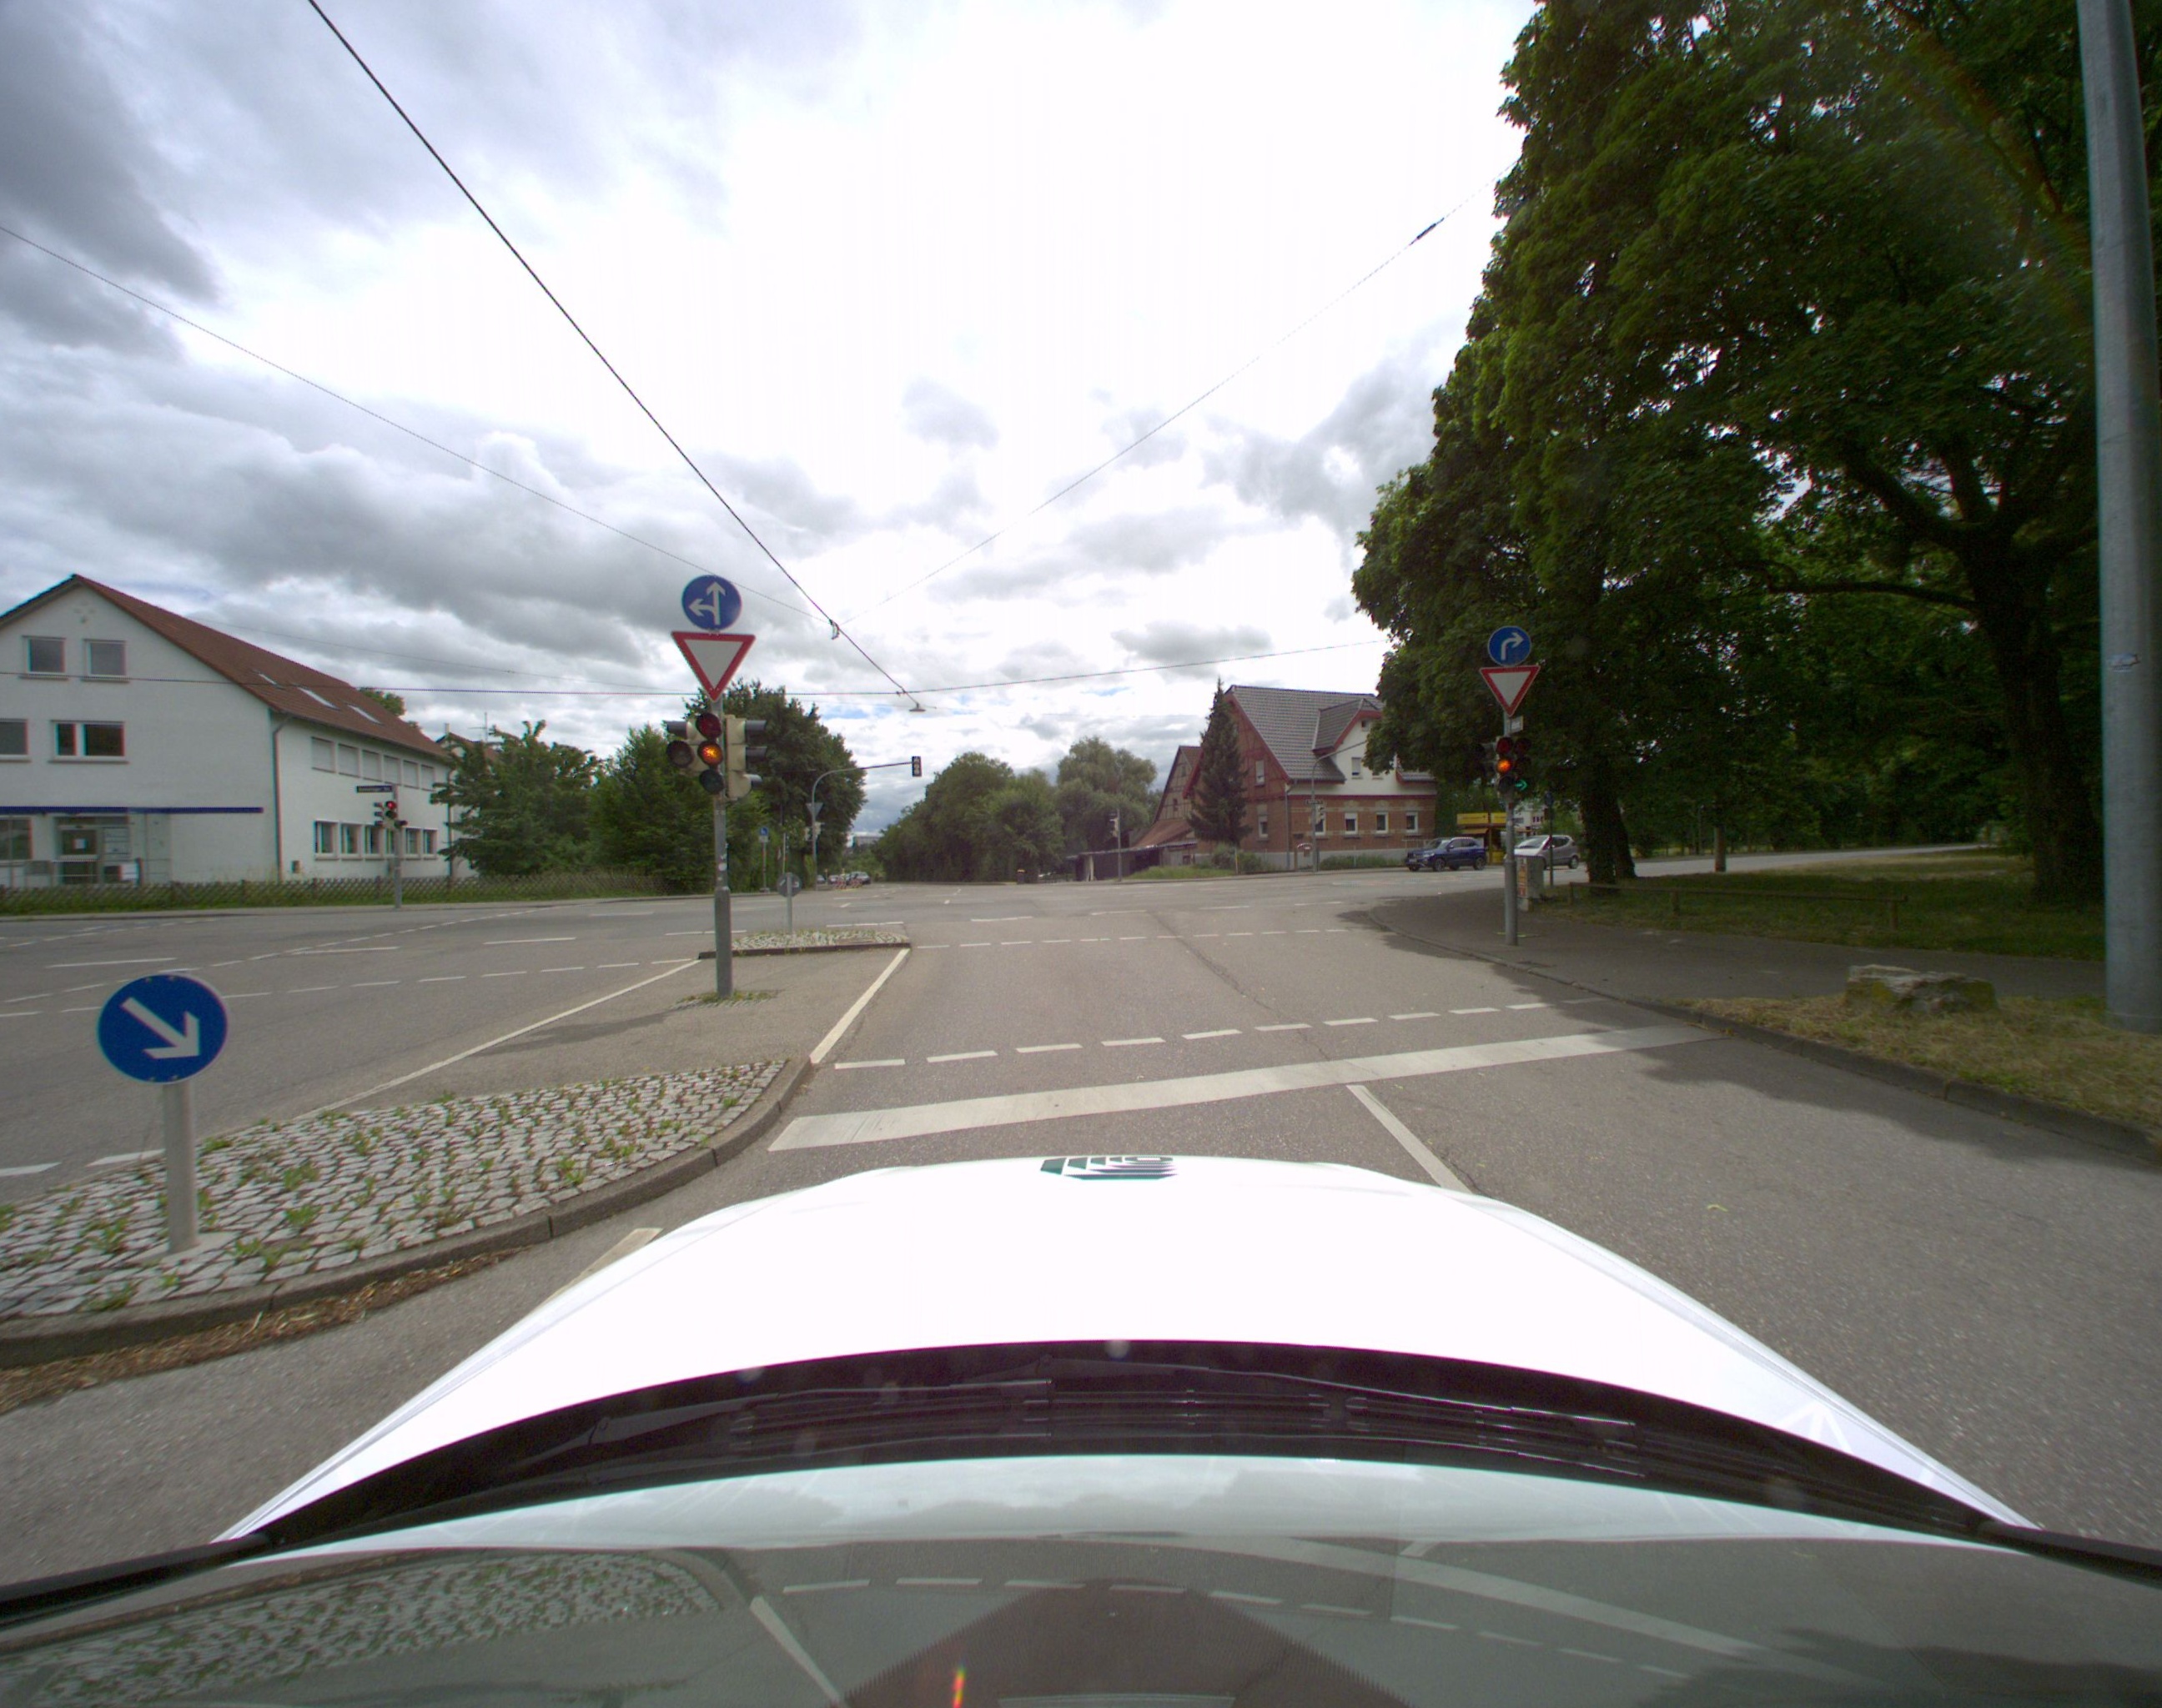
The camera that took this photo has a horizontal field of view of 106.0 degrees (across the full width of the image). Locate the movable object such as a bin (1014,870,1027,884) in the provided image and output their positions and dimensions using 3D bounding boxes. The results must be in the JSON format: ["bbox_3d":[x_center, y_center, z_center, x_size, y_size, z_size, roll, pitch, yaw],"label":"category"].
[{"bbox_3d":[-3.865,1.483,52.249,0.586,0.906,0.605,-2,0,19],"label":"movable object such as a bin"}]

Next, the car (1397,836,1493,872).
[{"bbox_3d":[17.266,0.001,38.651,4.003,1.518,1.913,-2,0,-22],"label":"car"}]

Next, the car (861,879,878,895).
[{"bbox_3d":[-26.083,4.035,100.351,1.998,1.750,3.978,-2,-1,-16],"label":"car"}]

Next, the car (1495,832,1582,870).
[{"bbox_3d":[20.673,-0.119,36.806,3.567,1.518,1.764,-2,-1,-28],"label":"car"}]
